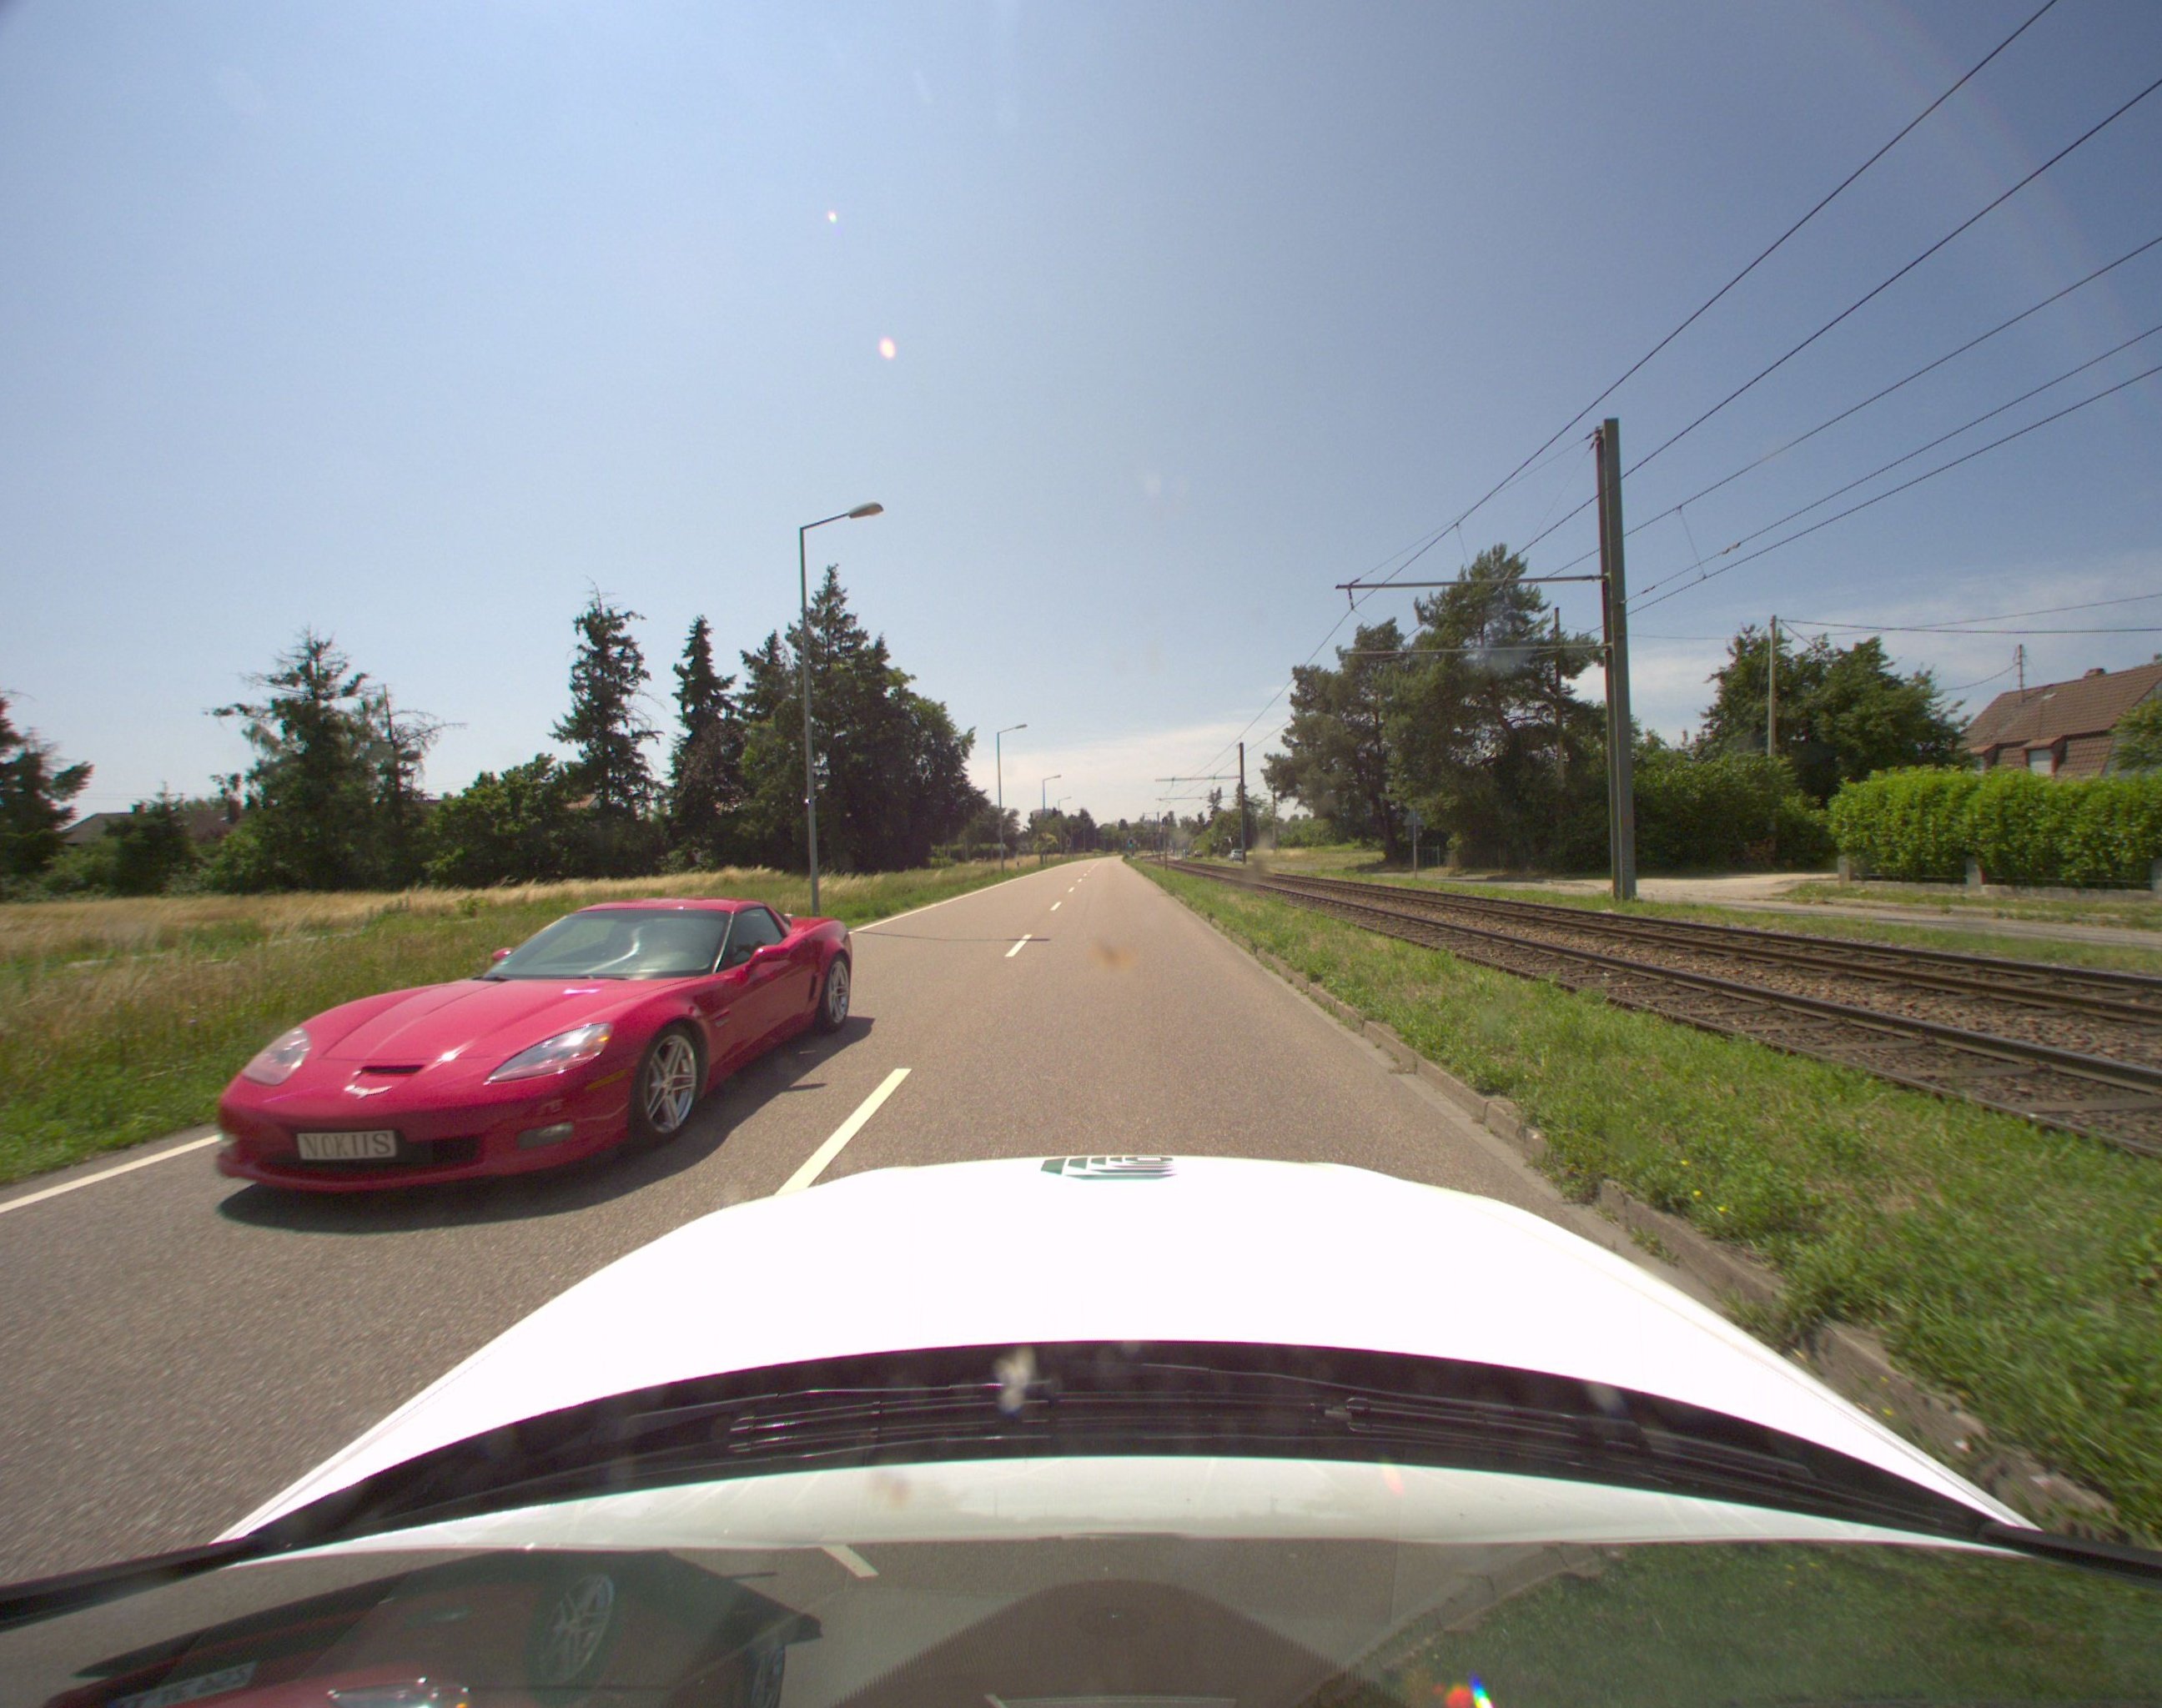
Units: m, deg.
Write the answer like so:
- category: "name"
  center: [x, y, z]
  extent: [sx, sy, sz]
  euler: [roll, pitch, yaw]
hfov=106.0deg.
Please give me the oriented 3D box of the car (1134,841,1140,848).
- category: "car"
  center: [14.820, -2.488, 215.932]
  extent: [1.546, 1.585, 3.571]
  euler: [-2, -1, 2]

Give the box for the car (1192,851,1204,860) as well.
- category: "car"
  center: [23.040, 0.398, 160.833]
  extent: [1.908, 1.662, 4.002]
  euler: [-2, -1, 2]

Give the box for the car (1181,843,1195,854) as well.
- category: "car"
  center: [16.222, -0.785, 123.365]
  extent: [1.737, 1.559, 4.002]
  euler: [-2, -1, 2]

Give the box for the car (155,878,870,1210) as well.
- category: "car"
  center: [-3.002, 0.877, 5.634]
  extent: [1.800, 1.285, 4.287]
  euler: [-2, -1, 2]

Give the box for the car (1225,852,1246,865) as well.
- category: "car"
  center: [19.997, 0.614, 105.347]
  extent: [1.986, 1.508, 4.002]
  euler: [-2, -1, 2]
